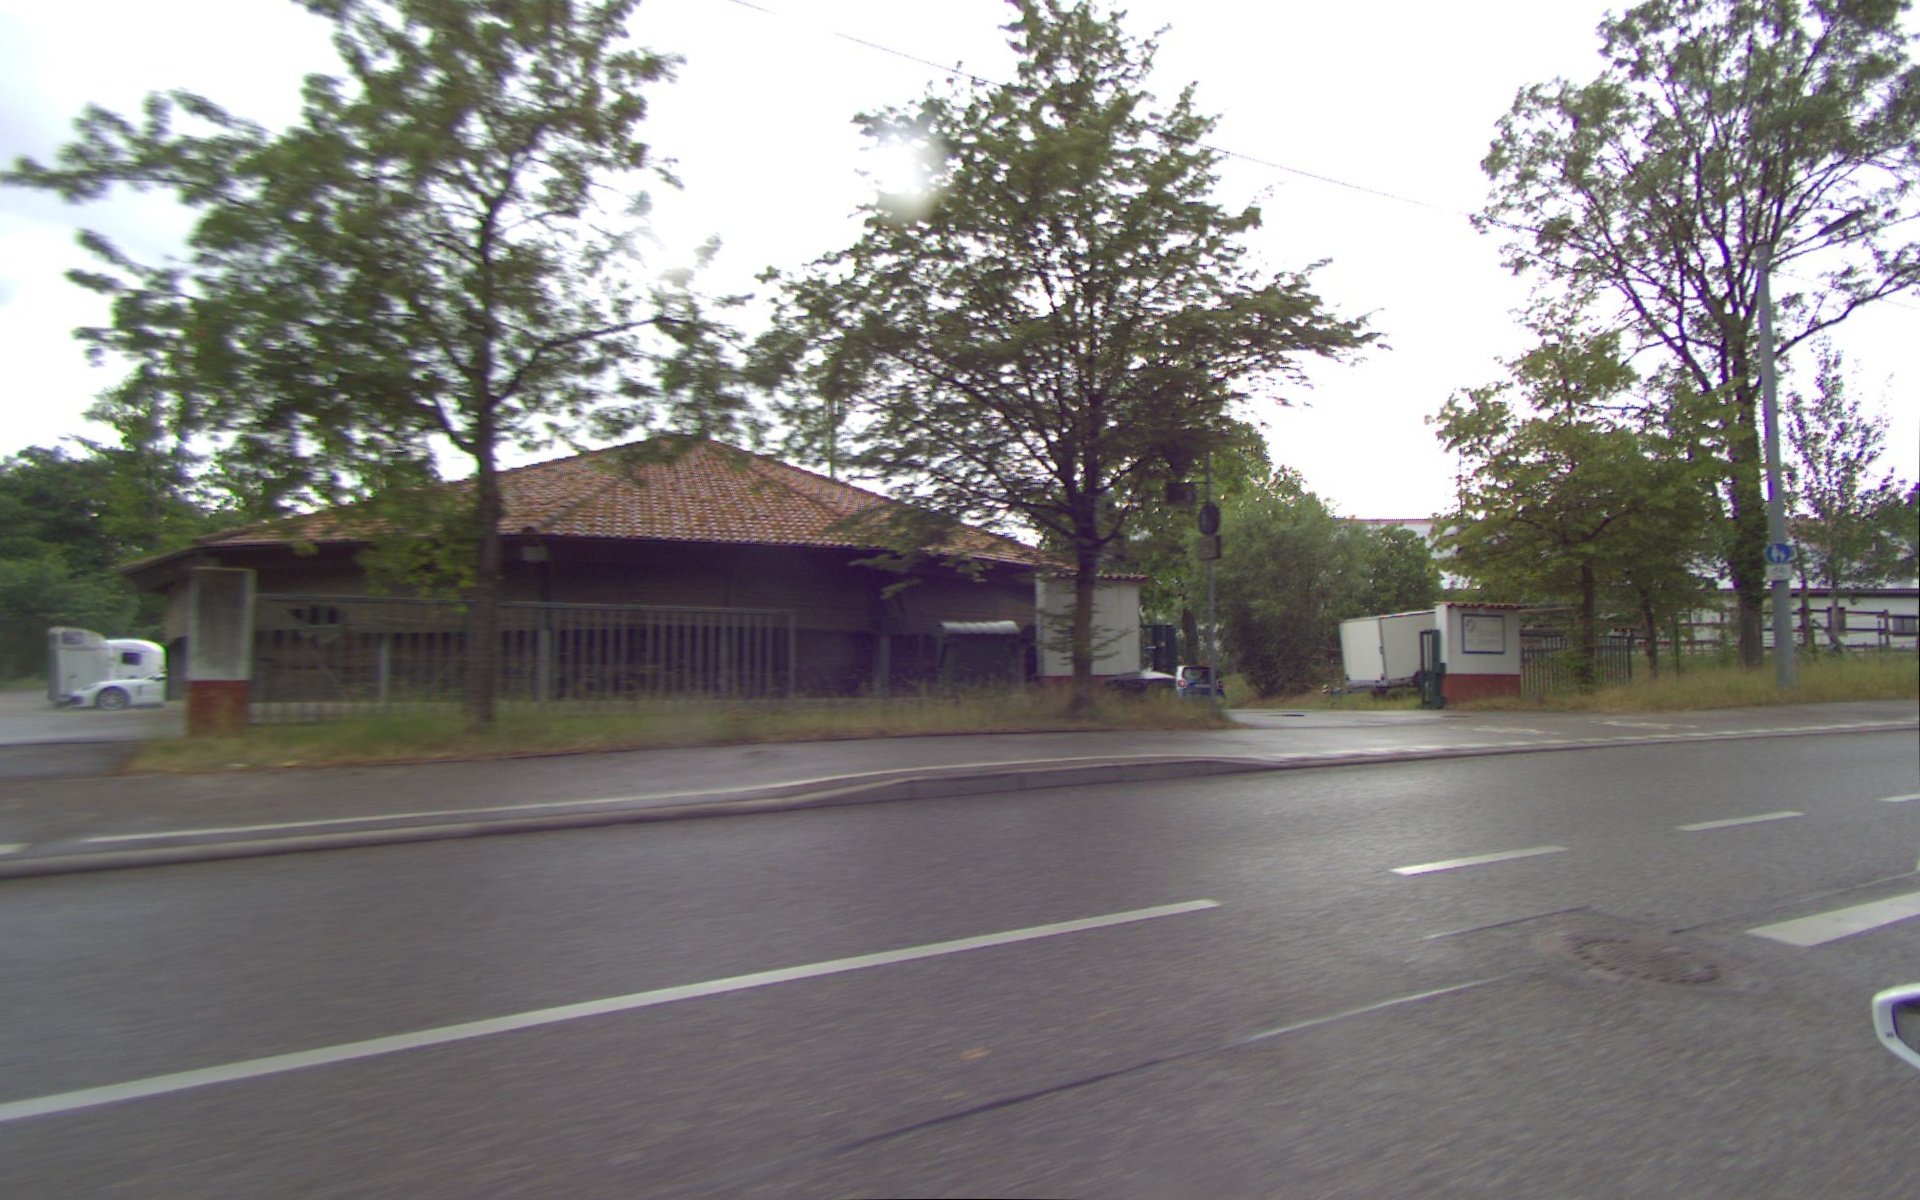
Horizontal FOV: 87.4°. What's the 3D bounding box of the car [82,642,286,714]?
[{"bbox_3d":[-23.672,2.410,30.871,4.756,2.039,1.967,3,-7,-37],"label":"car"}]
